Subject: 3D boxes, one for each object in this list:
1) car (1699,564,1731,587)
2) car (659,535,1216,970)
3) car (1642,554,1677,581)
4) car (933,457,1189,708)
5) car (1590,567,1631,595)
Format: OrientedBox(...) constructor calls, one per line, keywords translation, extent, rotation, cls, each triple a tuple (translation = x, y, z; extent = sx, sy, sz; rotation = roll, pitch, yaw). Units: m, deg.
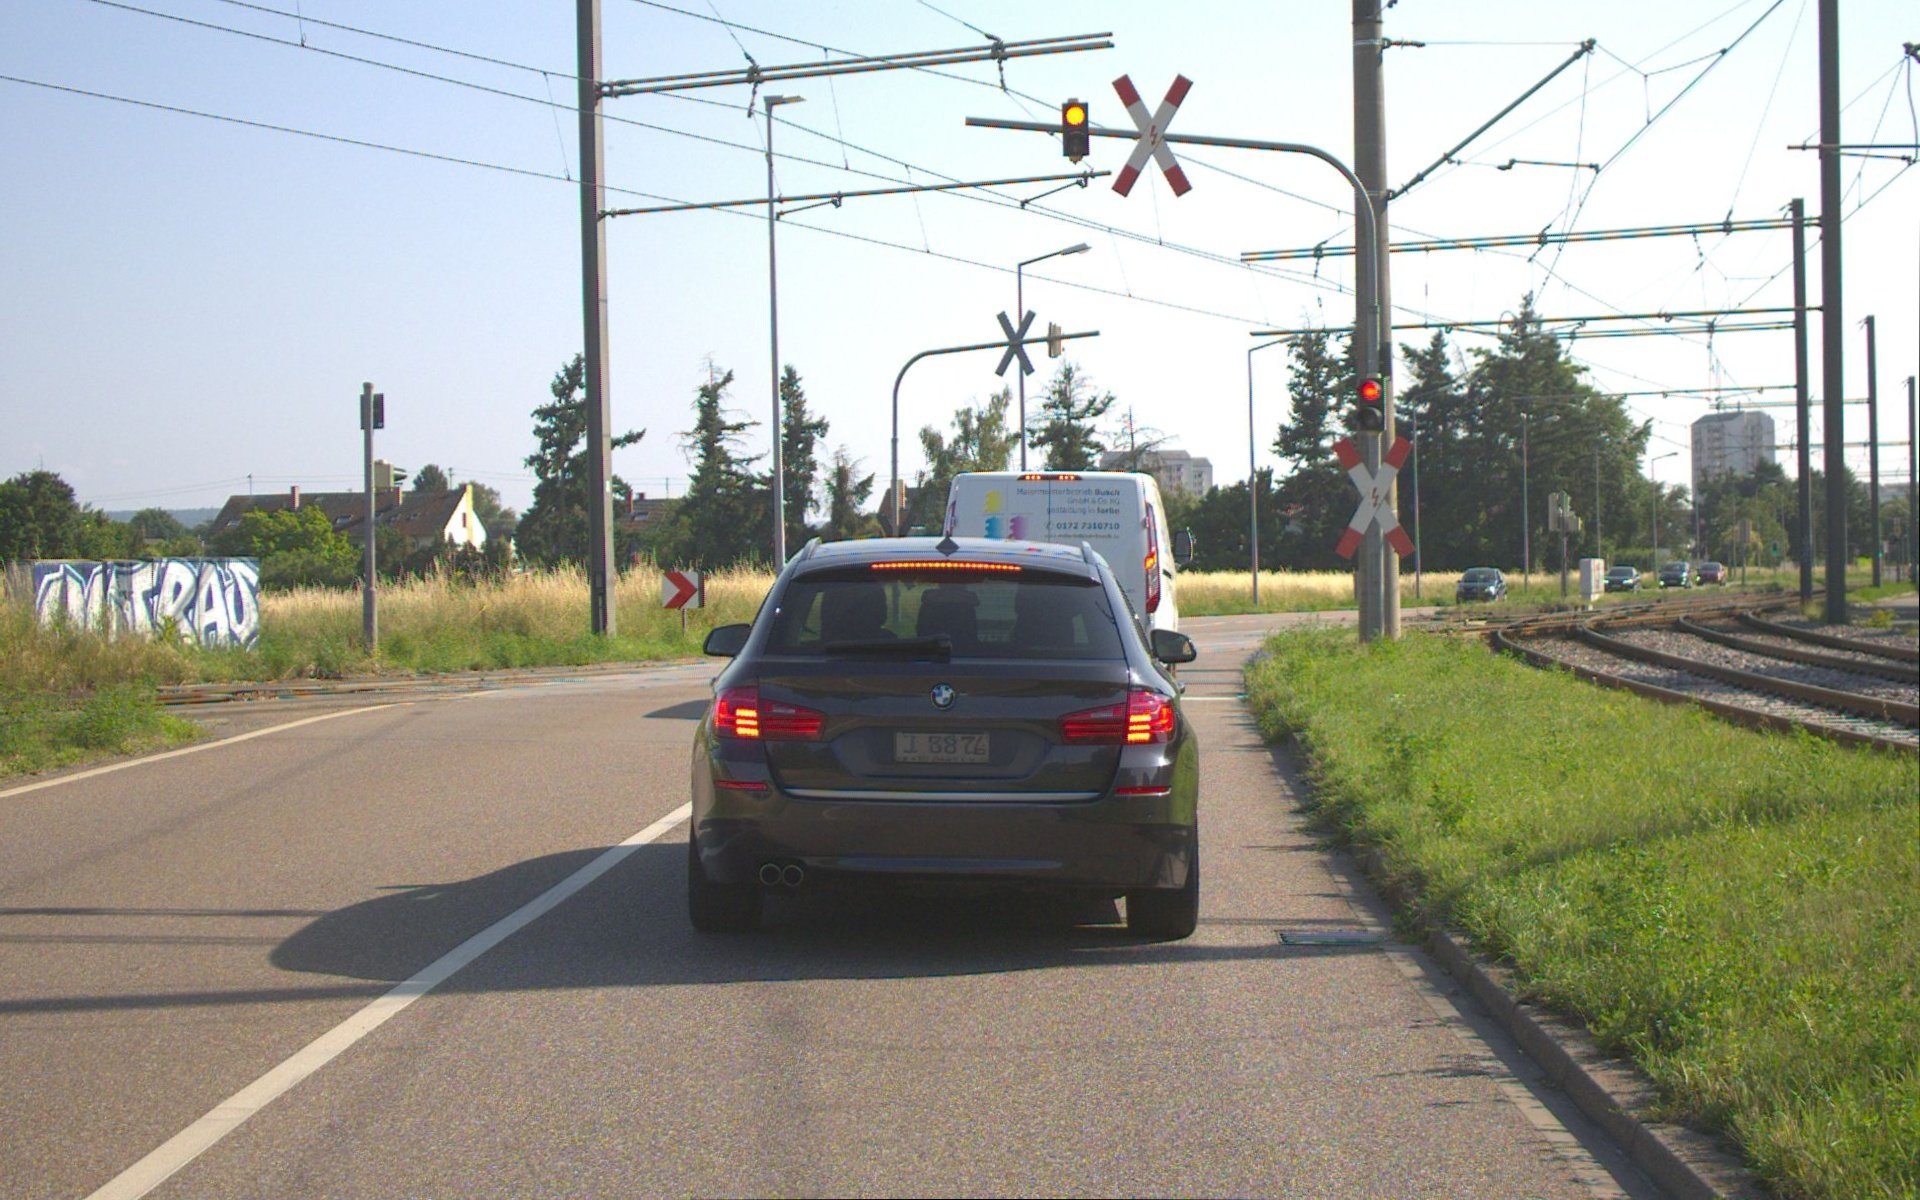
OrientedBox(translation=(50.570, -1.654, 230.232), extent=(1.714, 1.544, 3.925), rotation=(0, 1, 18), cls="car")
OrientedBox(translation=(-0.054, 0.468, 13.924), extent=(1.869, 1.447, 4.744), rotation=(0, 1, 1), cls="car")
OrientedBox(translation=(42.991, -2.001, 211.297), extent=(1.708, 1.659, 4.586), rotation=(0, 1, 17), cls="car")
OrientedBox(translation=(0.964, -0.177, 29.734), extent=(1.858, 1.981, 5.107), rotation=(0, 1, 6), cls="car")
OrientedBox(translation=(34.528, -1.023, 182.384), extent=(1.694, 1.435, 4.280), rotation=(1, 1, 17), cls="car")
